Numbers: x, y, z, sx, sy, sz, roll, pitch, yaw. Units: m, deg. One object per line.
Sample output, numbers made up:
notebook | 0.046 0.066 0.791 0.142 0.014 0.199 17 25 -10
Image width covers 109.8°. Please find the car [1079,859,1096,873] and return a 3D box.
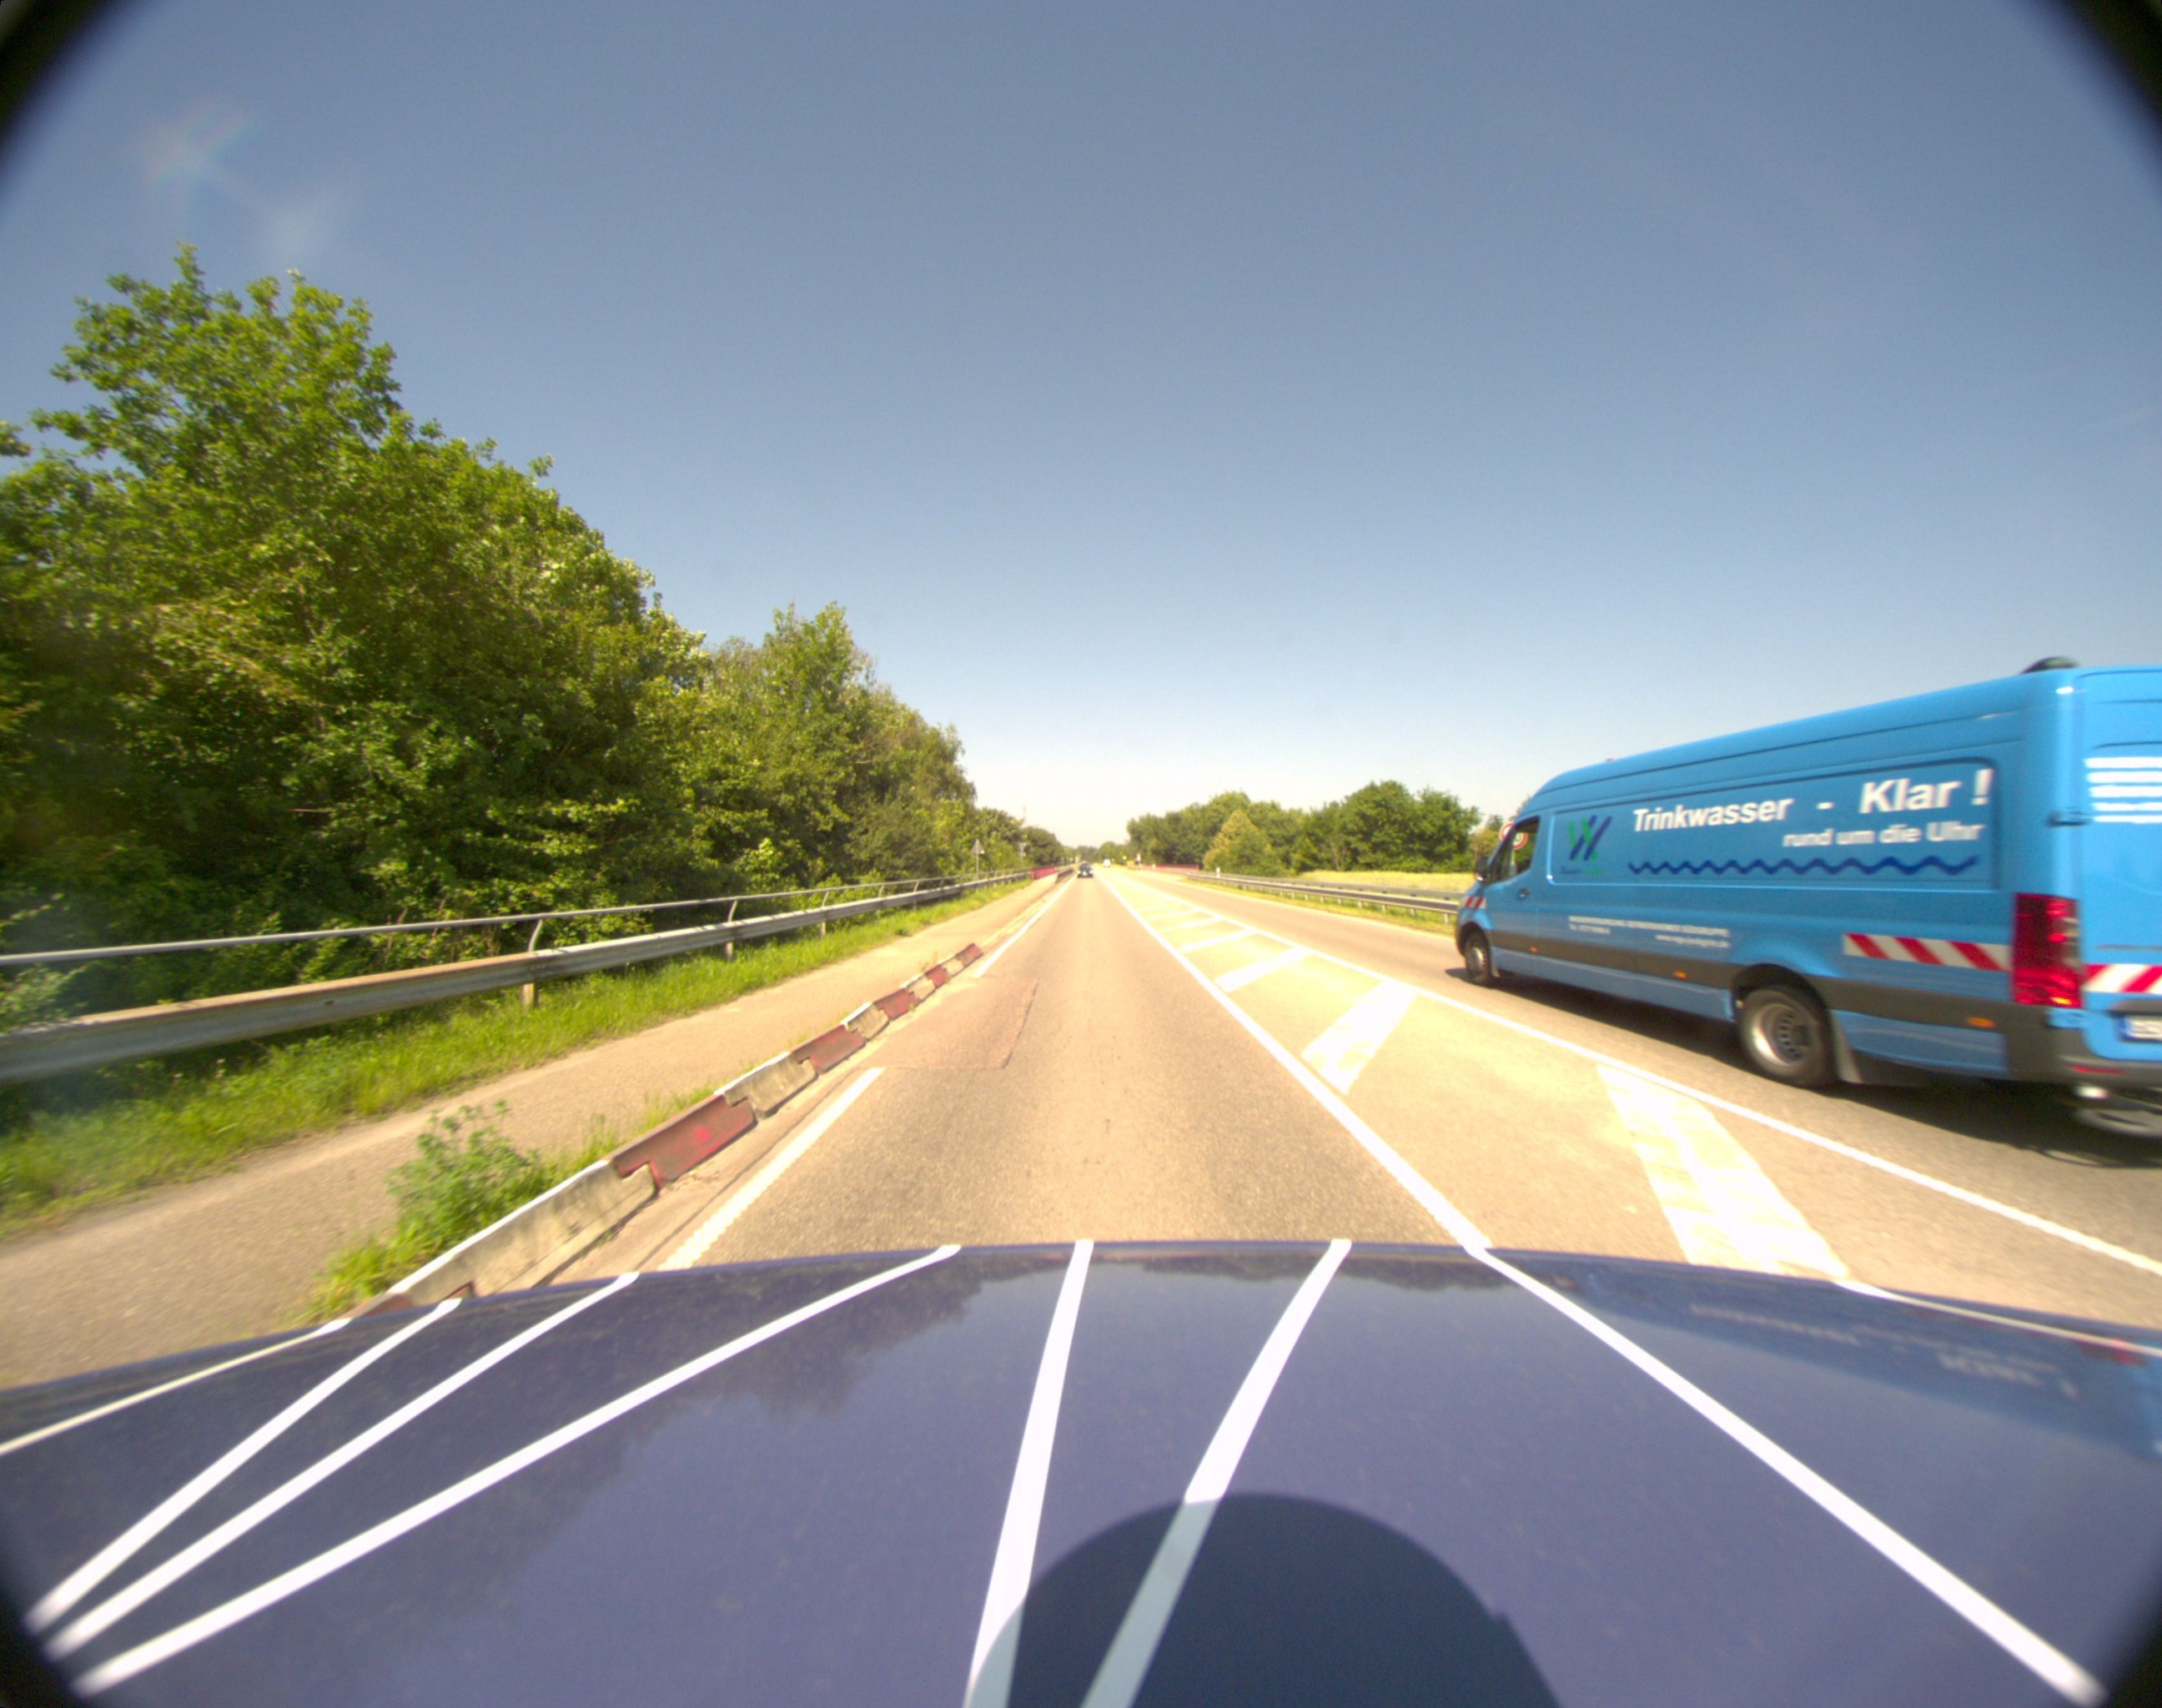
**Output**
car | 0.765 1.357 86.072 1.806 1.390 4.180 0 1 1

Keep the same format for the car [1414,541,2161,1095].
car | 5.800 -0.164 7.221 1.998 2.596 7.289 2 1 0
